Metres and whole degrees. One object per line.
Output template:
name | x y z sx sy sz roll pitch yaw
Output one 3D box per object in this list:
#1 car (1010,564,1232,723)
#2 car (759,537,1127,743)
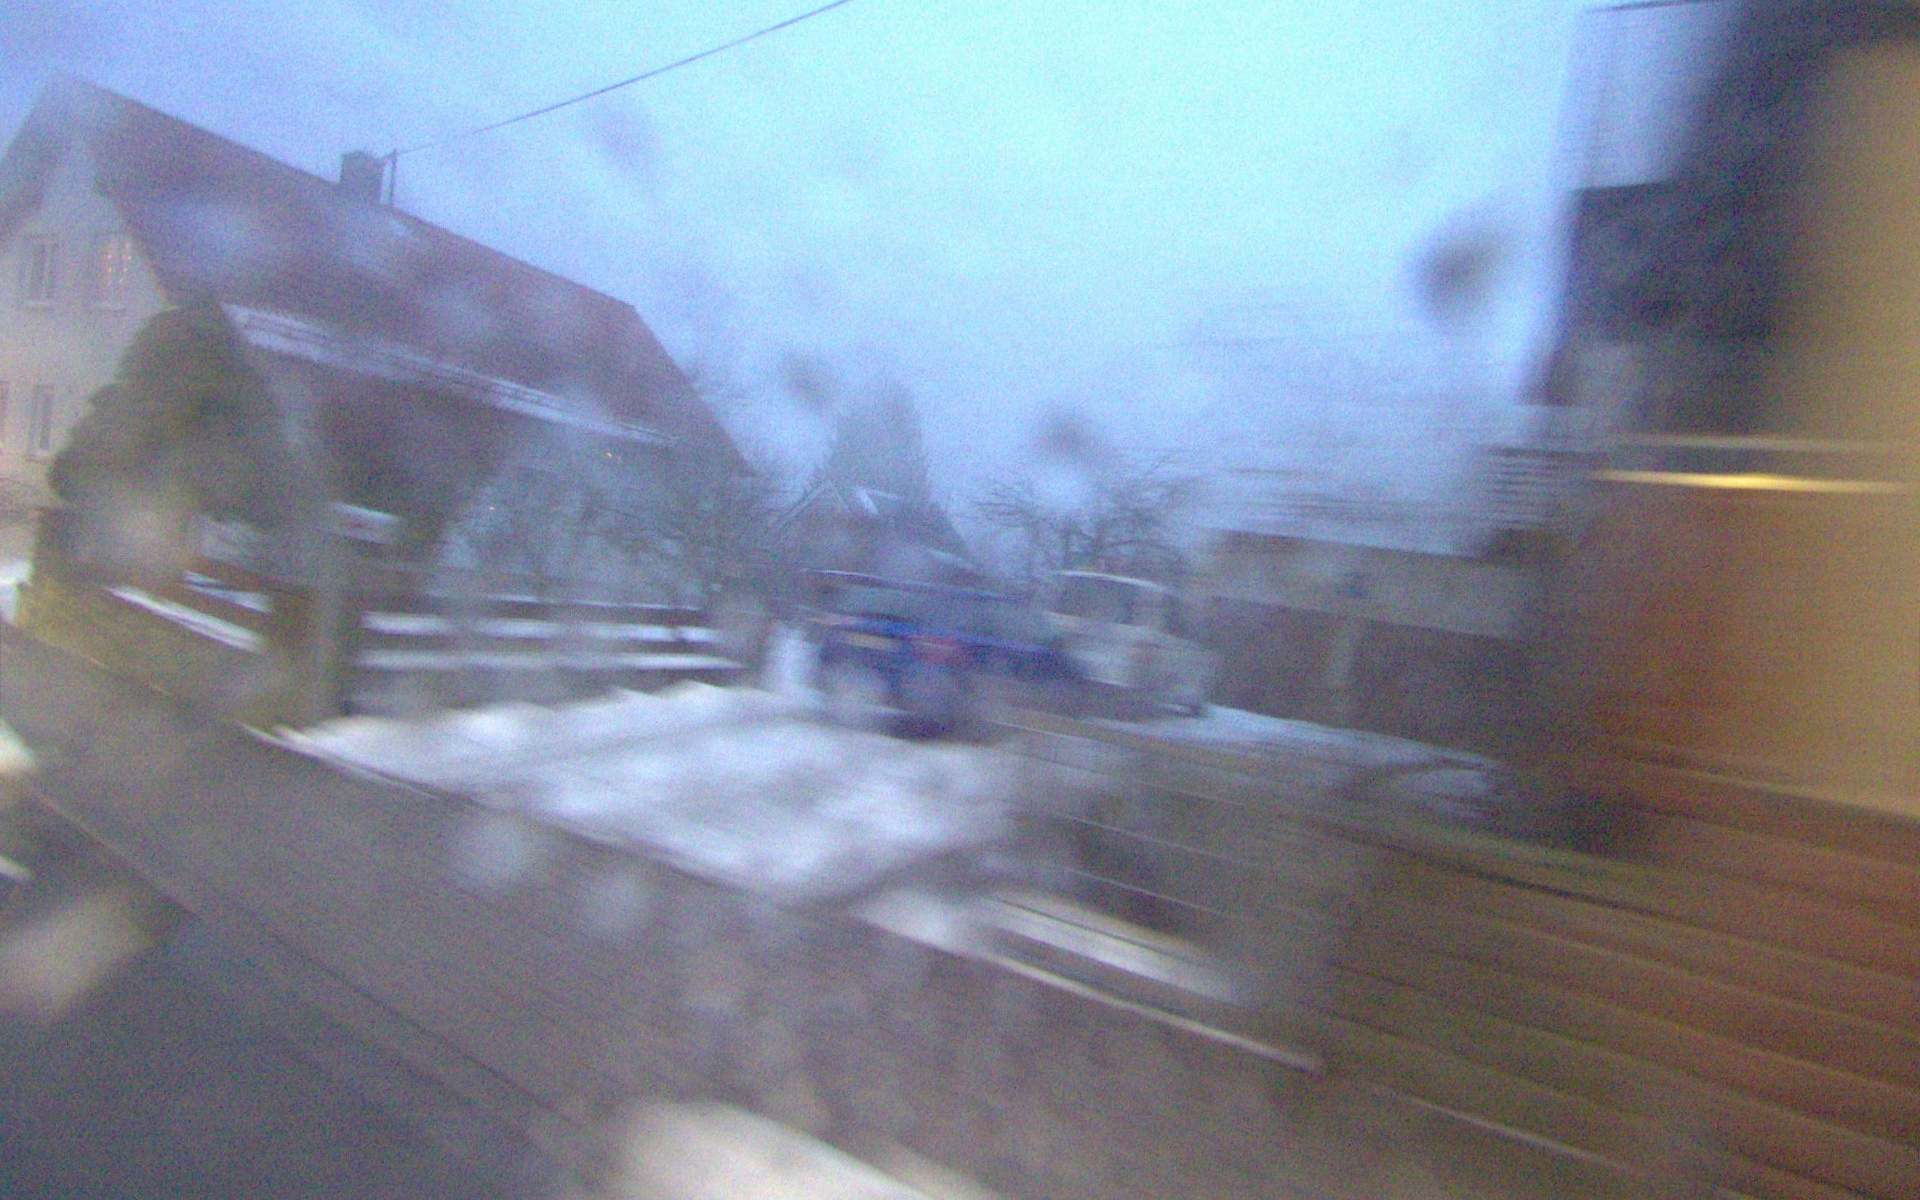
car | 2.667 0.758 15.651 1.965 1.948 4.384 7 -2 27
car | 0.092 0.517 10.879 1.965 1.605 4.460 6 -2 27
